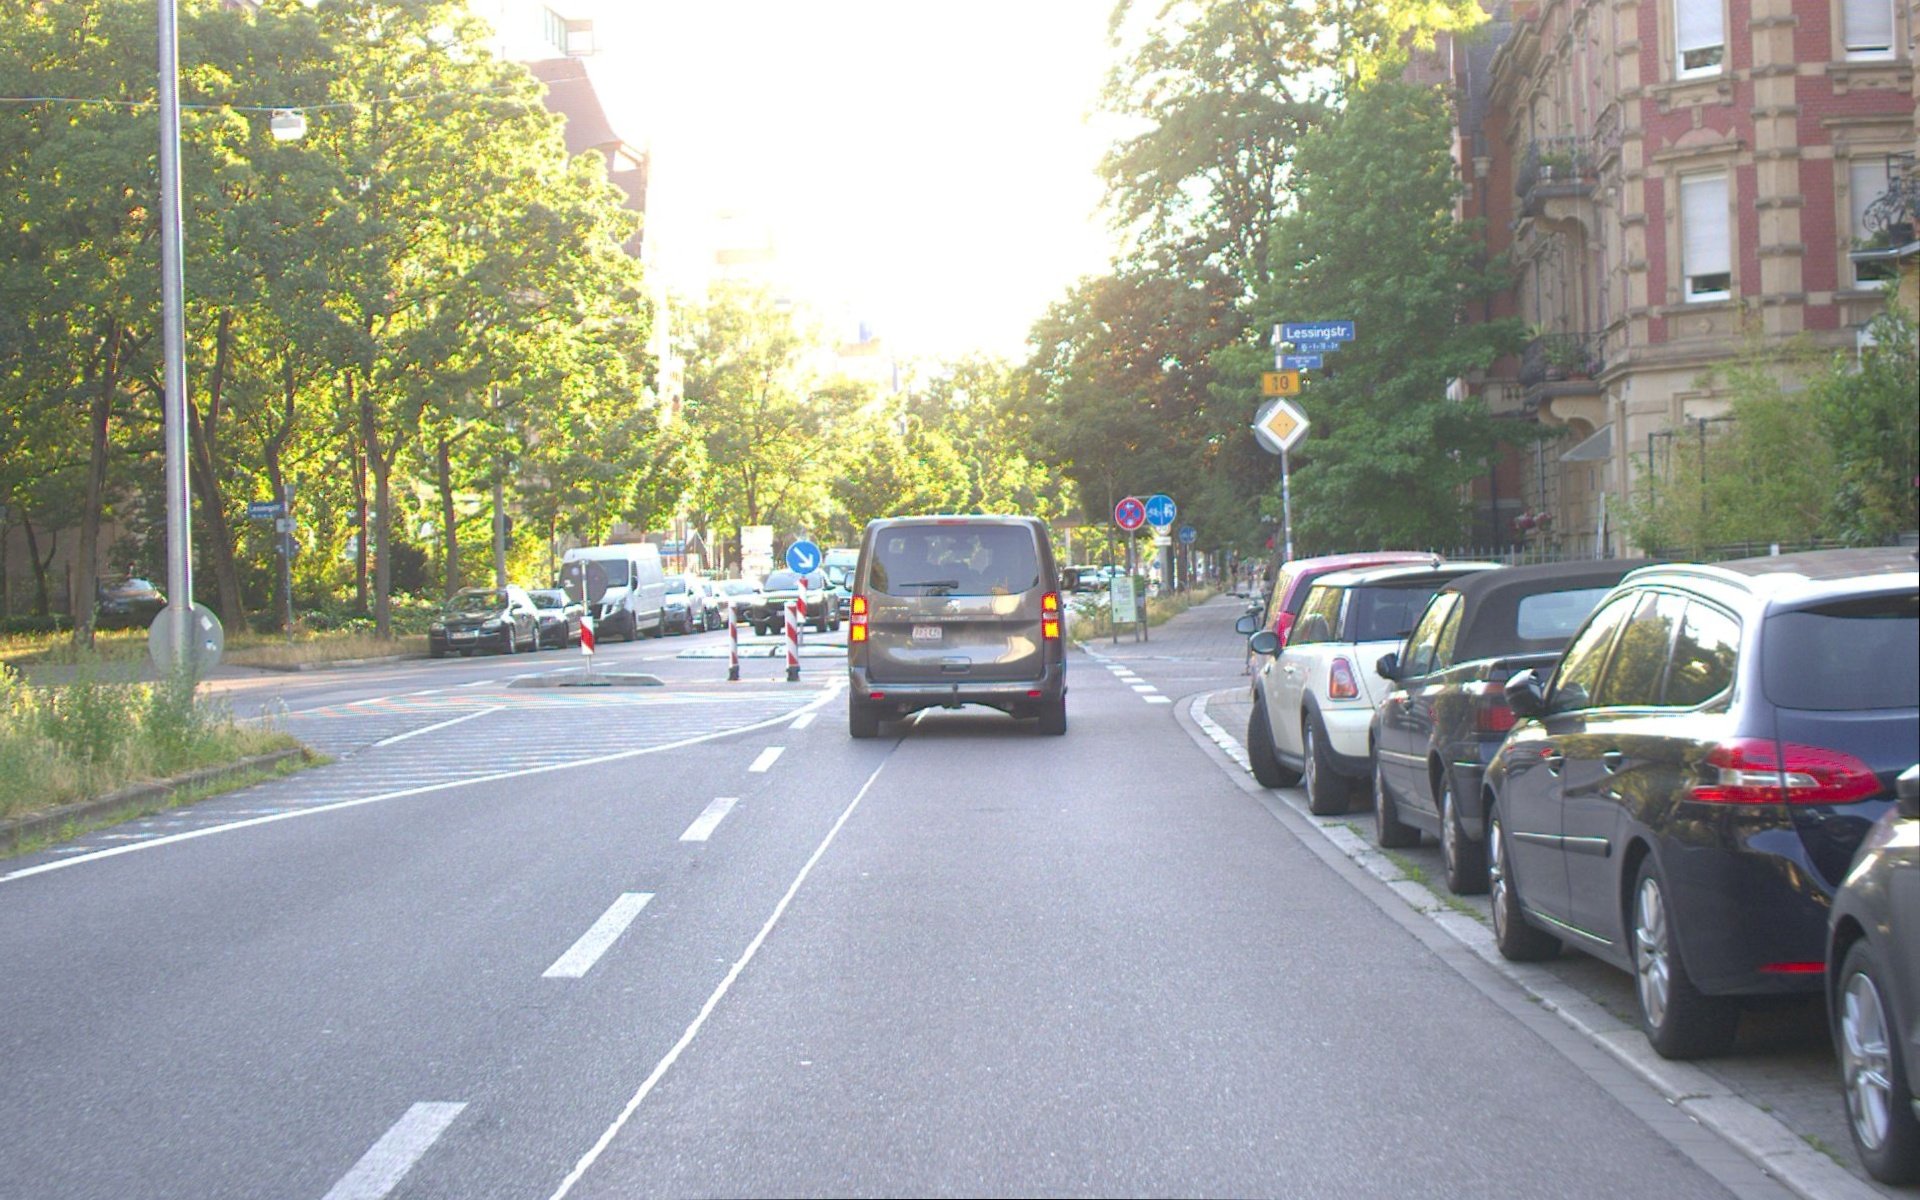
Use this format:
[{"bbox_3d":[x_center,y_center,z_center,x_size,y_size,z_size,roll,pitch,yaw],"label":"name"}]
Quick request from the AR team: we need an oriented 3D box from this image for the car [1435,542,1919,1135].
[{"bbox_3d":[2.884,0.592,11.303,1.887,1.443,4.464,-5,1,0],"label":"car"}]

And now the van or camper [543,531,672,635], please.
[{"bbox_3d":[-8.920,-0.458,87.593,2.091,2.460,6.305,-2,1,4],"label":"van or camper"}]

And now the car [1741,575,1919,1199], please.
[{"bbox_3d":[2.922,0.629,6.827,1.747,1.421,3.840,-5,1,0],"label":"car"}]

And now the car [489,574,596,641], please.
[{"bbox_3d":[-9.693,0.164,80.130,1.628,1.424,4.242,-2,1,4],"label":"car"}]

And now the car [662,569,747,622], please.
[{"bbox_3d":[-7.443,-0.150,100.607,1.736,1.440,4.624,-1,1,5],"label":"car"}]

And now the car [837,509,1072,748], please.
[{"bbox_3d":[-0.065,0.212,30.428,1.887,1.918,3.839,-2,1,0],"label":"car"}]

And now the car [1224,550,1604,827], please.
[{"bbox_3d":[2.694,0.480,21.165,1.677,1.421,3.677,-5,1,-1],"label":"car"}]

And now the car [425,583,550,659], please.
[{"bbox_3d":[-10.148,0.423,74.124,1.624,1.501,4.543,-2,0,5],"label":"car"}]

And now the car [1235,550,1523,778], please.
[{"bbox_3d":[3.068,0.424,25.798,1.726,1.460,3.546,-5,1,2],"label":"car"}]

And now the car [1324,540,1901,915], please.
[{"bbox_3d":[2.972,0.512,16.616,1.887,1.421,4.342,-5,1,1],"label":"car"}]

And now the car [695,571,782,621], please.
[{"bbox_3d":[-6.879,-0.138,107.384,1.994,1.478,4.828,-2,1,5],"label":"car"}]

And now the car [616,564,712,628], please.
[{"bbox_3d":[-8.158,-0.130,95.118,1.866,1.639,4.570,-2,0,5],"label":"car"}]

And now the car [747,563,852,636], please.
[{"bbox_3d":[-4.132,-0.035,89.331,1.877,1.700,4.566,-4,0,7],"label":"car"}]

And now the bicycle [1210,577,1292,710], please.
[{"bbox_3d":[3.041,0.457,36.069,0.565,1.295,2.265,-5,-1,1],"label":"bicycle"}]

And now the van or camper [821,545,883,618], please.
[{"bbox_3d":[-3.987,-0.715,127.929,1.993,2.659,6.038,0,1,1],"label":"van or camper"}]
